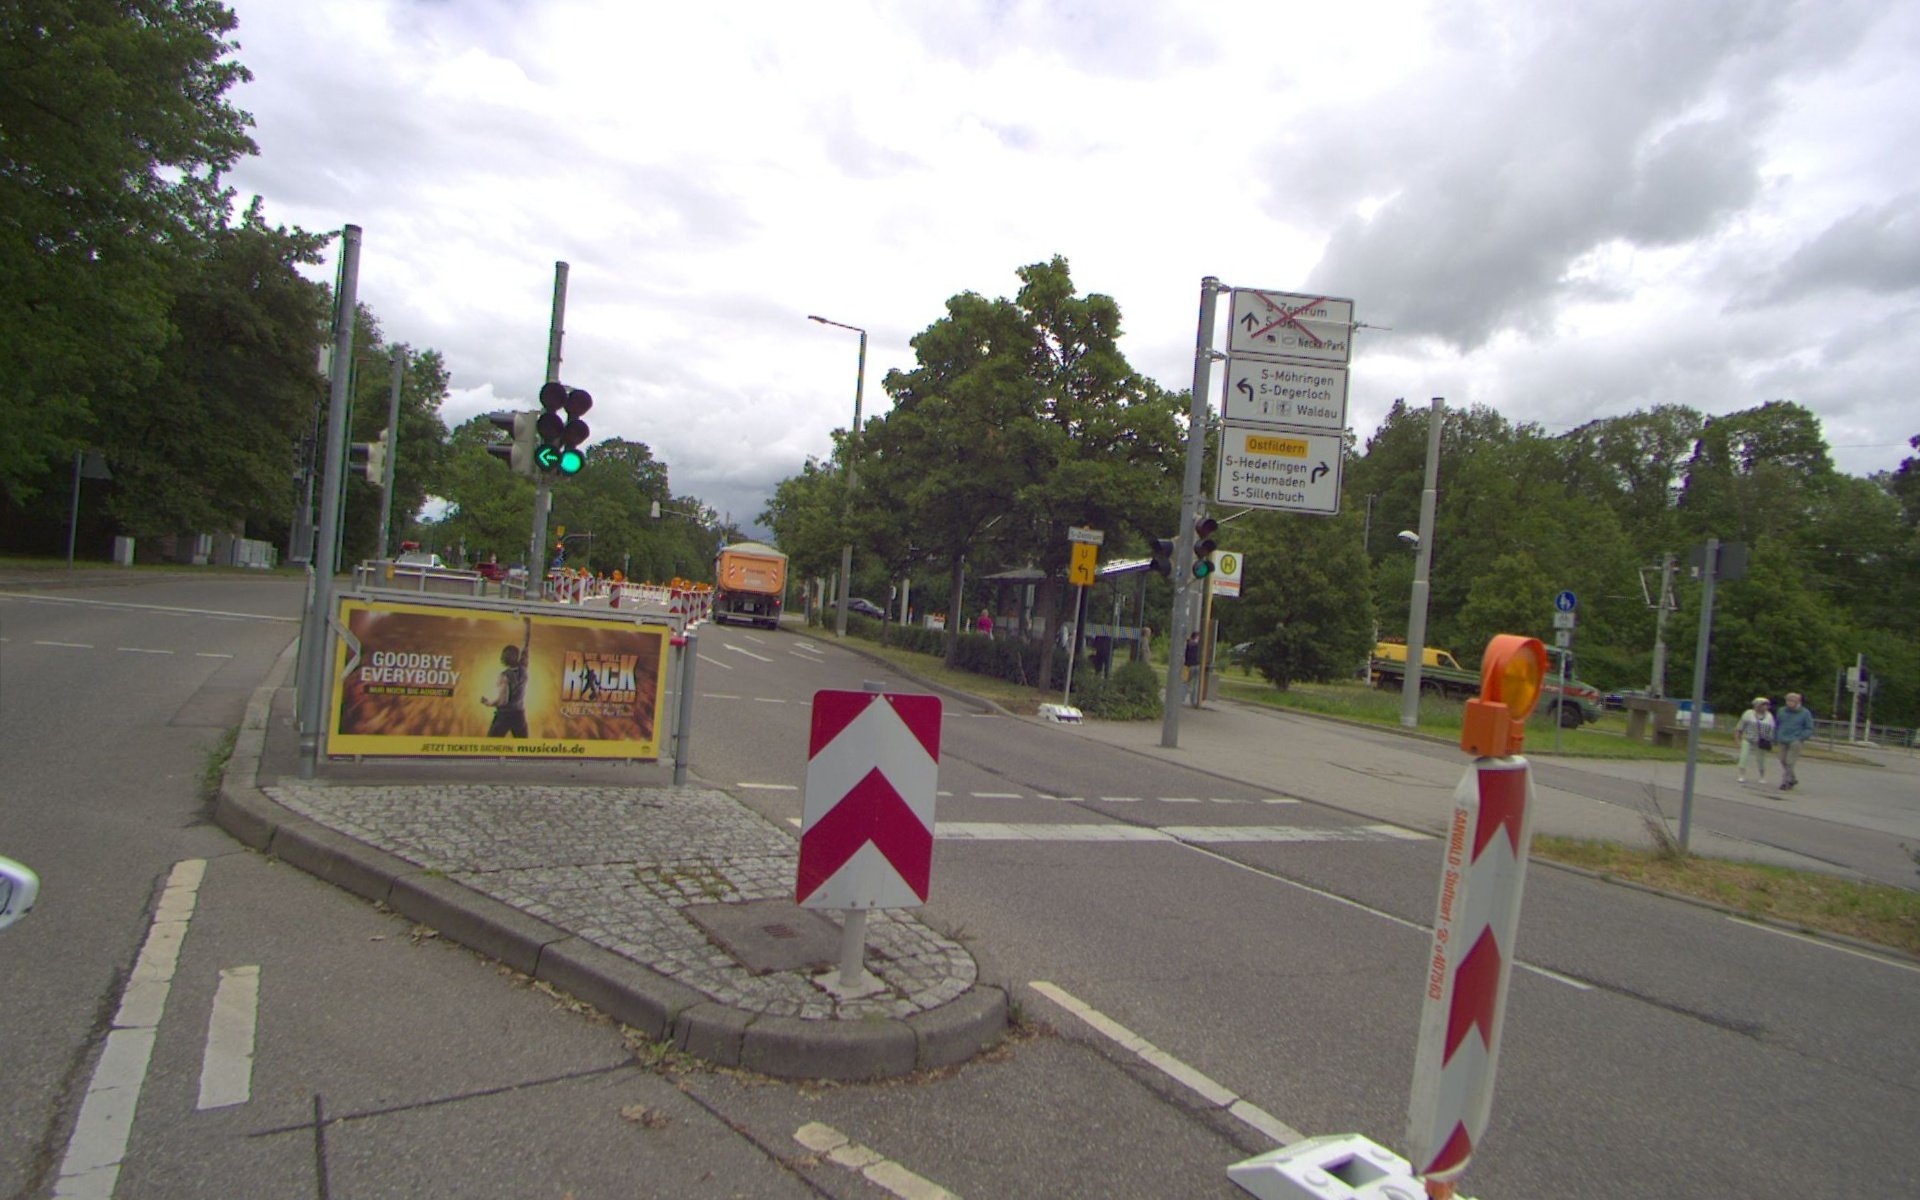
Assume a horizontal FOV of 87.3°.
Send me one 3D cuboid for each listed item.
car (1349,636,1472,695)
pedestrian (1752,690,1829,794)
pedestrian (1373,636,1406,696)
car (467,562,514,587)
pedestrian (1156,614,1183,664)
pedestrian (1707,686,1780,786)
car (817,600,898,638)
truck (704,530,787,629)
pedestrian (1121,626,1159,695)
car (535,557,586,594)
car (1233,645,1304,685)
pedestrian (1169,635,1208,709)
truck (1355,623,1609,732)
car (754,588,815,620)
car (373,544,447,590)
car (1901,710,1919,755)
[{"bbox_3d":[25.288,3.663,56.687,6.037,2.523,2.000,6,-1,24],"label":"car"},{"bbox_3d":[15.359,2.625,18.623,0.659,1.778,0.733,7,-1,-21],"label":"pedestrian"},{"bbox_3d":[23.214,3.577,54.391,1.098,3.080,1.022,6,-1,41],"label":"pedestrian"},{"bbox_3d":[-46.634,-2.508,99.906,3.927,1.904,2.000,6,-1,23],"label":"car"},{"bbox_3d":[10.259,1.898,49.262,0.850,2.322,0.614,6,-1,41],"label":"pedestrian"},{"bbox_3d":[14.996,2.592,19.261,0.659,1.778,0.734,7,-1,-20],"label":"pedestrian"},{"bbox_3d":[-7.373,1.389,72.439,5.337,2.037,2.000,6,-1,24],"label":"car"},{"bbox_3d":[-9.222,-0.870,42.821,2.822,3.559,8.224,6,0,-14],"label":"truck"},{"bbox_3d":[4.190,1.409,23.434,0.519,1.534,0.474,7,-1,-38],"label":"pedestrian"},{"bbox_3d":[-22.740,-1.354,57.423,1.968,1.737,3.991,7,-2,-13],"label":"car"},{"bbox_3d":[19.717,4.166,64.244,3.927,2.037,2.000,6,-1,24],"label":"car"},{"bbox_3d":[5.002,1.581,22.024,0.519,1.534,0.474,7,-1,-38],"label":"pedestrian"},{"bbox_3d":[15.722,2.293,30.507,6.439,2.380,2.401,6,-1,34],"label":"truck"},{"bbox_3d":[-13.294,0.291,76.469,3.924,1.904,2.002,7,-1,13],"label":"car"},{"bbox_3d":[-26.003,-1.516,47.740,1.970,1.770,4.565,7,-2,-16],"label":"car"},{"bbox_3d":[47.058,6.473,46.784,4.249,2.037,2.000,6,-1,24],"label":"car"}]
